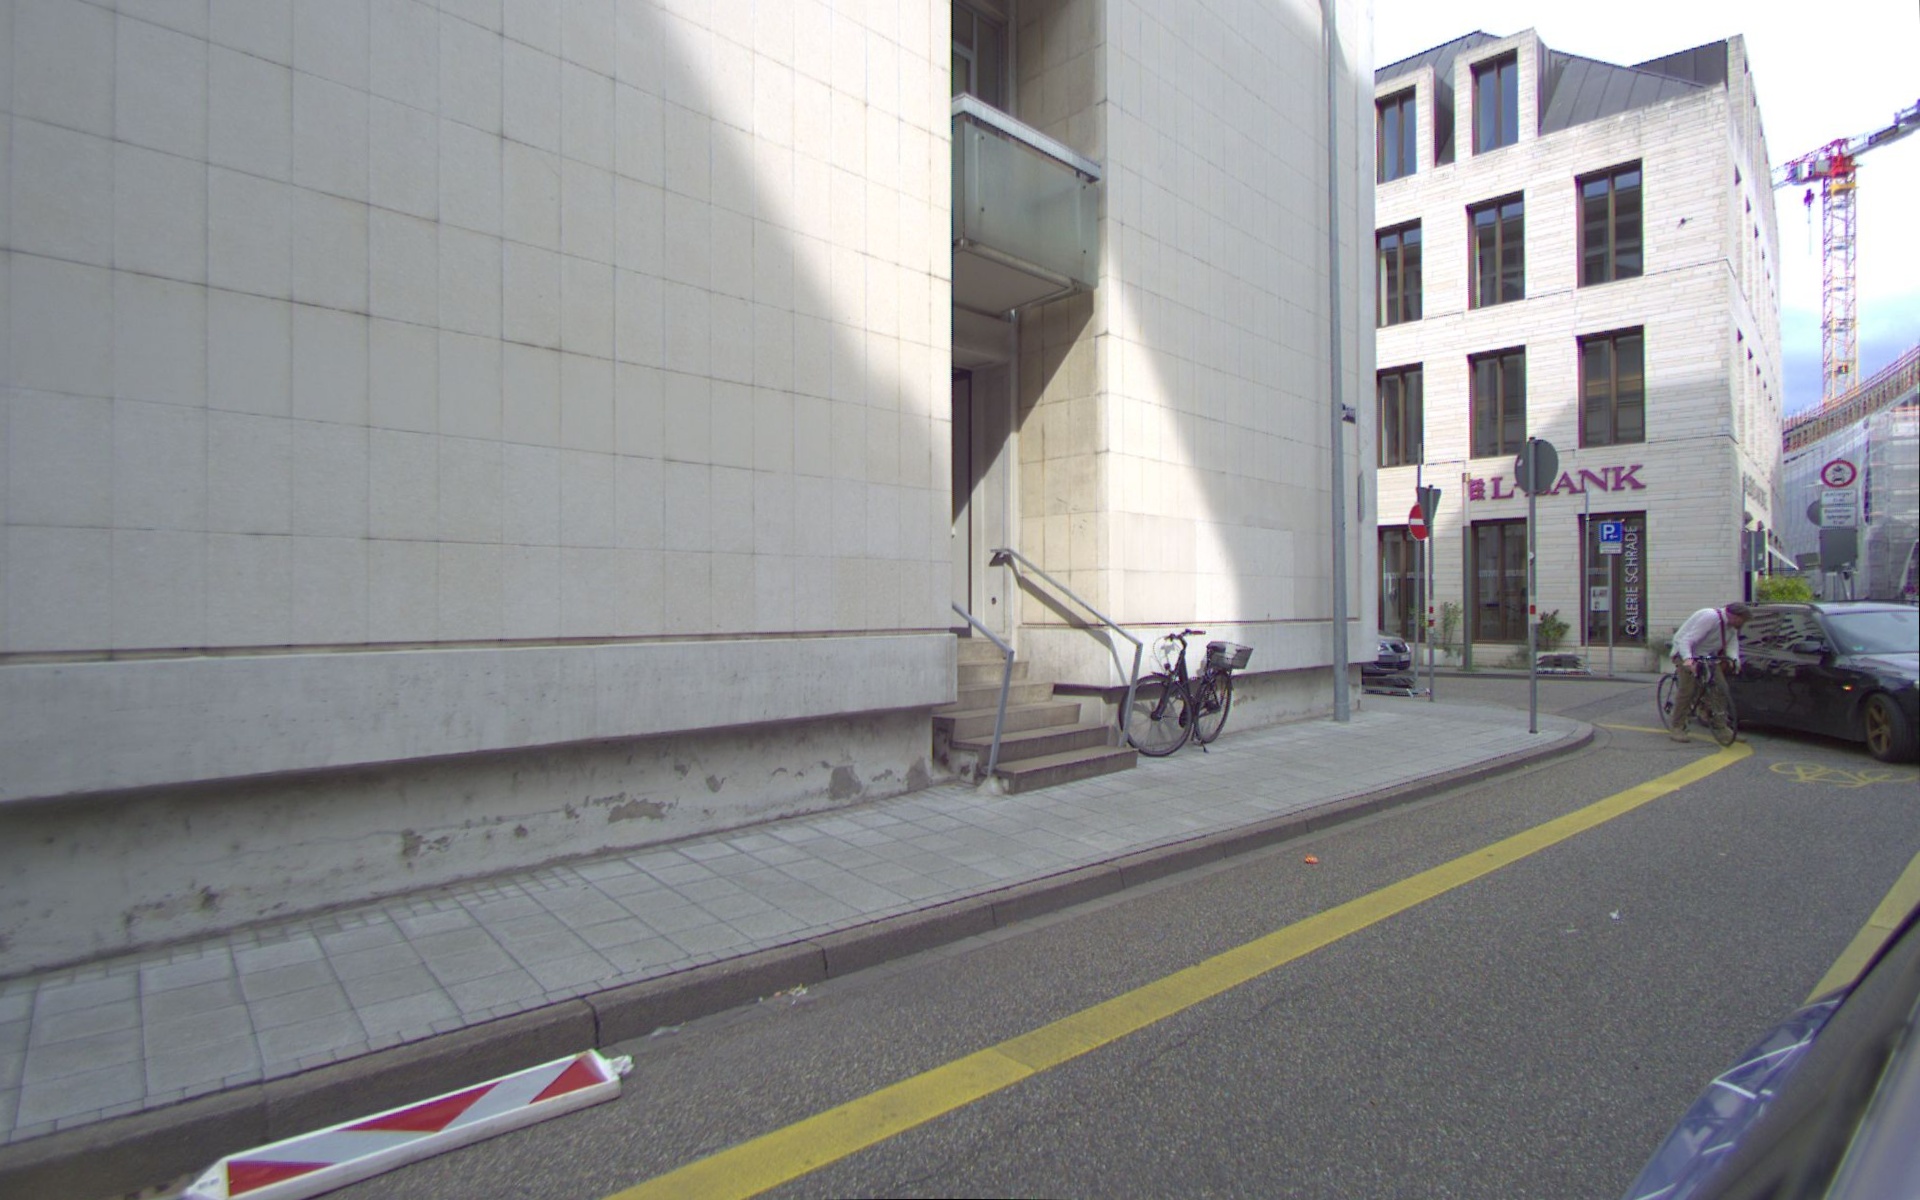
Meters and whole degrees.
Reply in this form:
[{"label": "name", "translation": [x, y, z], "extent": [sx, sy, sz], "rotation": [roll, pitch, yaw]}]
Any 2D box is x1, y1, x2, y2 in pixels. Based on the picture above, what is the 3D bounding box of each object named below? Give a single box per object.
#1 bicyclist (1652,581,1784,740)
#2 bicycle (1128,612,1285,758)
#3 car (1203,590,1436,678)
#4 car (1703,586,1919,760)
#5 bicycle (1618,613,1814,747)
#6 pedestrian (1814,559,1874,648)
[{"label": "bicyclist", "translation": [8.093, 0.610, 10.854], "extent": [0.881, 1.614, 0.872], "rotation": [0, 0, 19]}, {"label": "bicycle", "translation": [2.308, 0.724, 9.346], "extent": [0.588, 1.182, 1.786], "rotation": [0, 0, 44]}, {"label": "car", "translation": [7.259, 0.618, 20.748], "extent": [1.784, 1.610, 4.187], "rotation": [-1, 0, -42]}, {"label": "car", "translation": [9.381, 0.621, 10.056], "extent": [1.690, 1.509, 3.754], "rotation": [-1, 0, 10]}, {"label": "bicycle", "translation": [8.191, 0.783, 11.163], "extent": [0.860, 1.209, 2.847], "rotation": [0, 0, 18]}, {"label": "pedestrian", "translation": [18.874, 0.063, 21.625], "extent": [0.767, 1.854, 0.853], "rotation": [0, 0, 29]}]
